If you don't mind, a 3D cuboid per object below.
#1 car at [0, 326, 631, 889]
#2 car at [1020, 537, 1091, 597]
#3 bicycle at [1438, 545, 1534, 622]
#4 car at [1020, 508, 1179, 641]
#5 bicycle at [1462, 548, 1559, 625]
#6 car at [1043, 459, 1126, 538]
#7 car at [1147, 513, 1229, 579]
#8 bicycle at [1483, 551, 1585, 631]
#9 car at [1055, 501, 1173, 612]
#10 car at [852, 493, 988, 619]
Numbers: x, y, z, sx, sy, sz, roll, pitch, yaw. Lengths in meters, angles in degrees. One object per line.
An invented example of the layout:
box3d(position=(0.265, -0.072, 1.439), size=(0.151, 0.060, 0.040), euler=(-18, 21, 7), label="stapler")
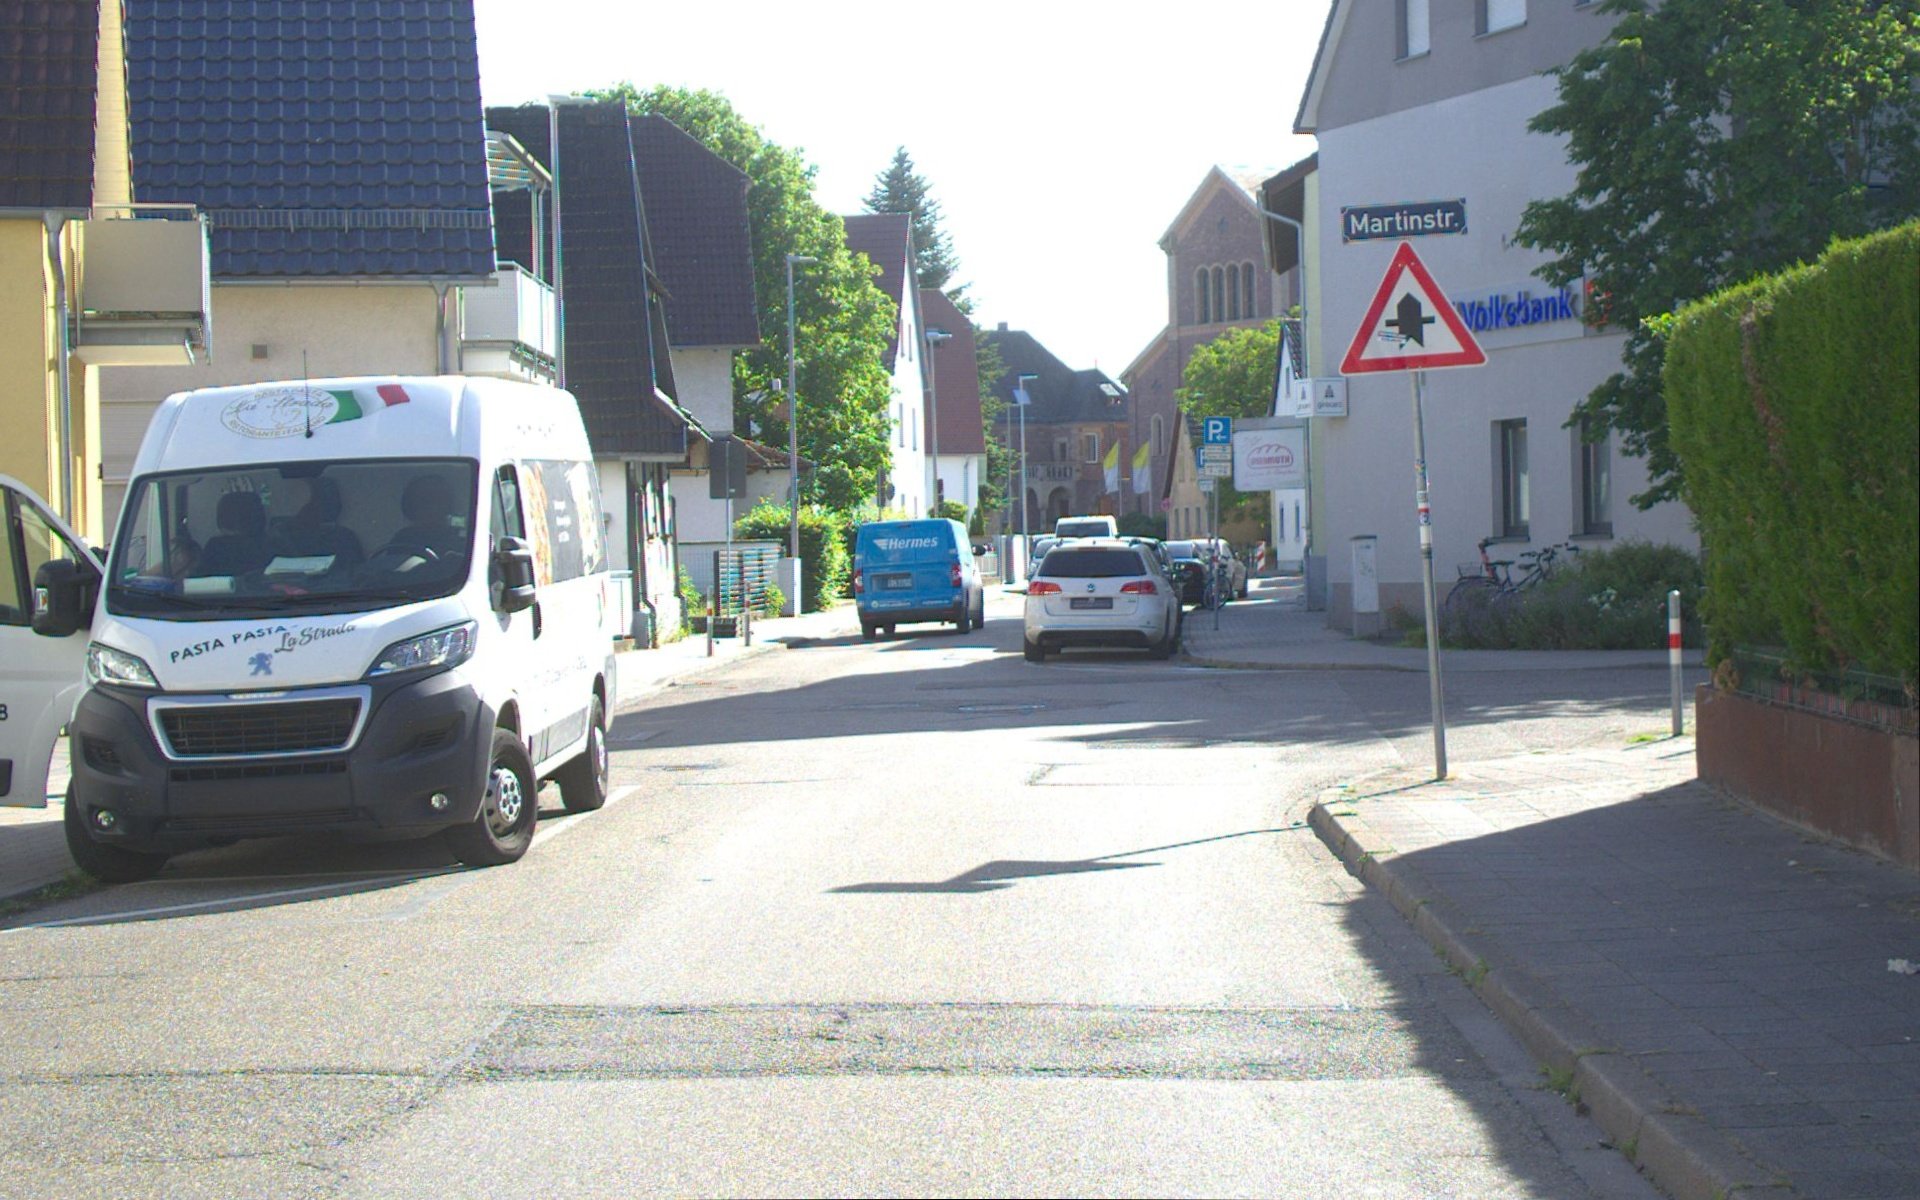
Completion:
box3d(position=(-3.231, -0.036, 18.361), size=(2.252, 2.462, 5.516), euler=(-3, 1, 1), label="car")
box3d(position=(2.837, -0.982, 101.600), size=(1.715, 1.593, 3.925), euler=(-3, 1, 6), label="car")
box3d(position=(6.700, -0.211, 43.781), size=(1.163, 0.917, 0.313), euler=(-2, 1, 12), label="bicycle")
box3d(position=(1.819, -0.366, 43.616), size=(1.846, 1.508, 4.506), euler=(-2, 2, 4), label="car")
box3d(position=(6.938, -0.168, 43.322), size=(1.163, 0.917, 0.313), euler=(-2, 1, 12), label="bicycle")
box3d(position=(4.154, -3.379, 114.102), size=(2.197, 2.381, 6.063), euler=(-4, 1, 6), label="car")
box3d(position=(5.401, -1.300, 81.026), size=(1.812, 1.470, 4.659), euler=(-1, 1, 5), label="car")
box3d(position=(7.029, -0.112, 42.131), size=(1.163, 0.917, 0.313), euler=(-2, 1, 2), label="bicycle")
box3d(position=(2.217, -0.650, 49.238), size=(1.610, 1.515, 3.971), euler=(-1, 2, 3), label="car")
box3d(position=(-0.623, -0.775, 57.639), size=(1.902, 1.911, 5.070), euler=(-3, 1, 3), label="car")
